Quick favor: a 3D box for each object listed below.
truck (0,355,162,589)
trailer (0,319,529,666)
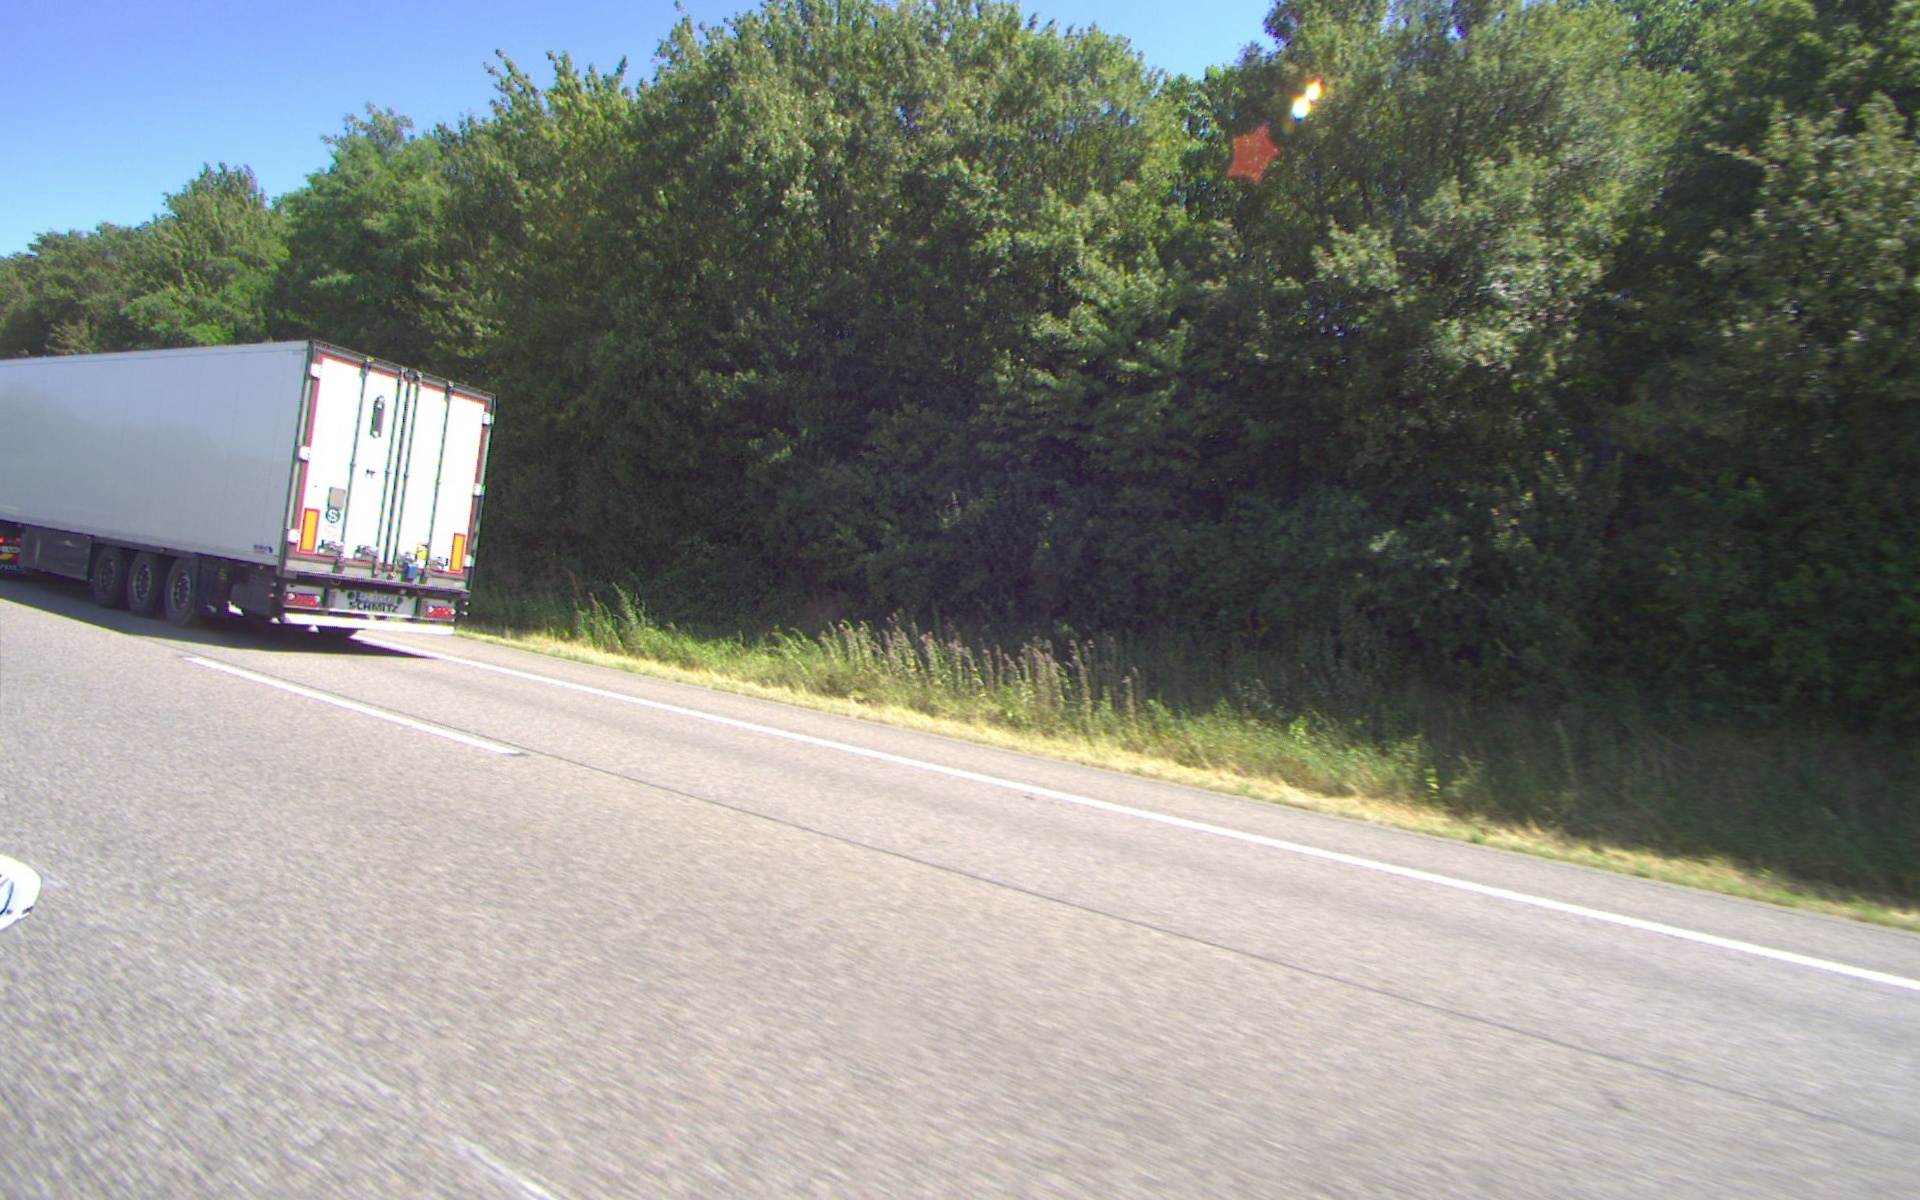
[{"bbox_3d":[-20.749,-2.793,21.855,5.947,4.264,3.053,7,-1,31],"label":"truck"},{"bbox_3d":[-13.359,-1.942,17.429,13.603,4.274,3.046,7,-1,31],"label":"trailer"}]
